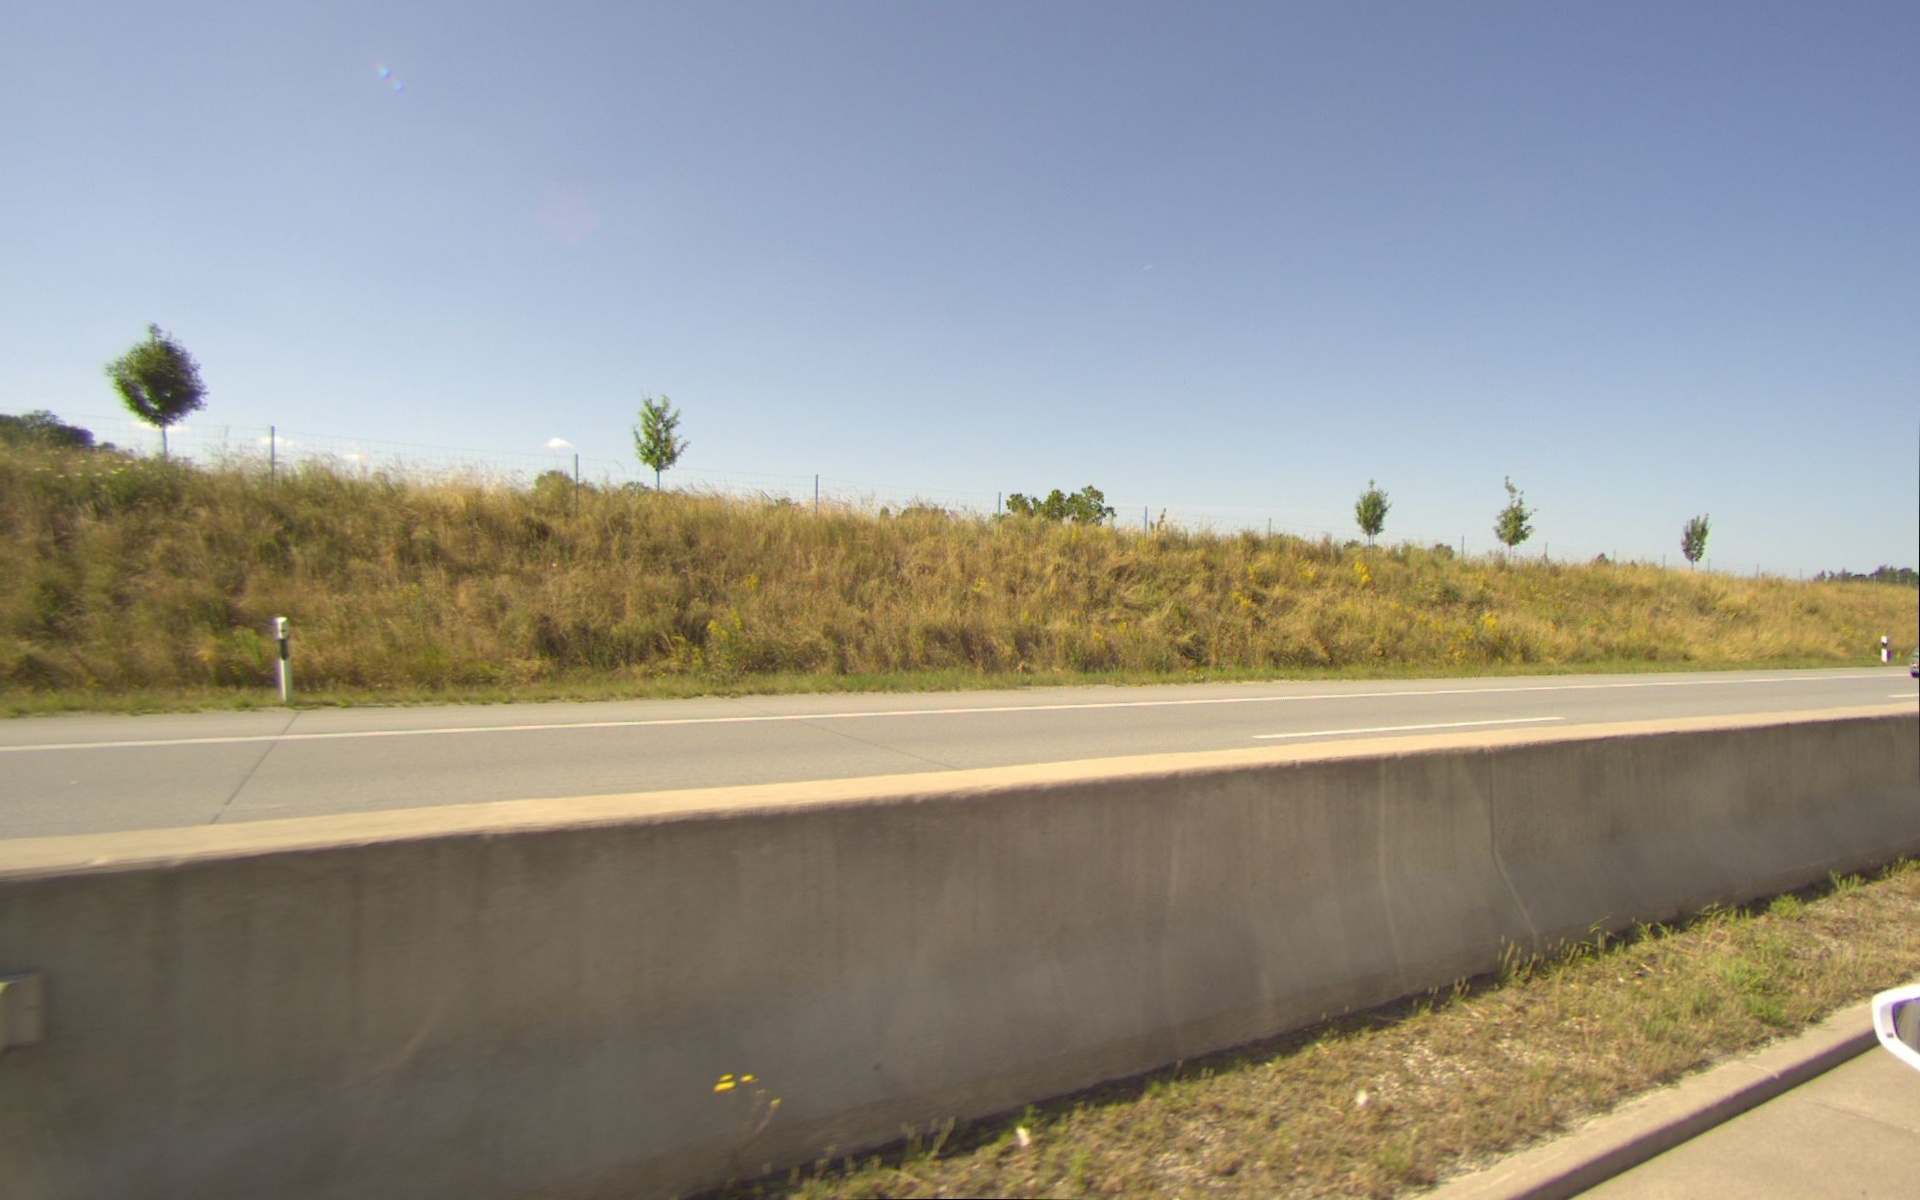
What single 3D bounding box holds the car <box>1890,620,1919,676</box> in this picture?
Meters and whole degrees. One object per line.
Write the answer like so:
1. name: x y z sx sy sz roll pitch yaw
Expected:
1. car: 28.163 1.354 28.225 4.514 1.522 1.869 1 -1 -32
